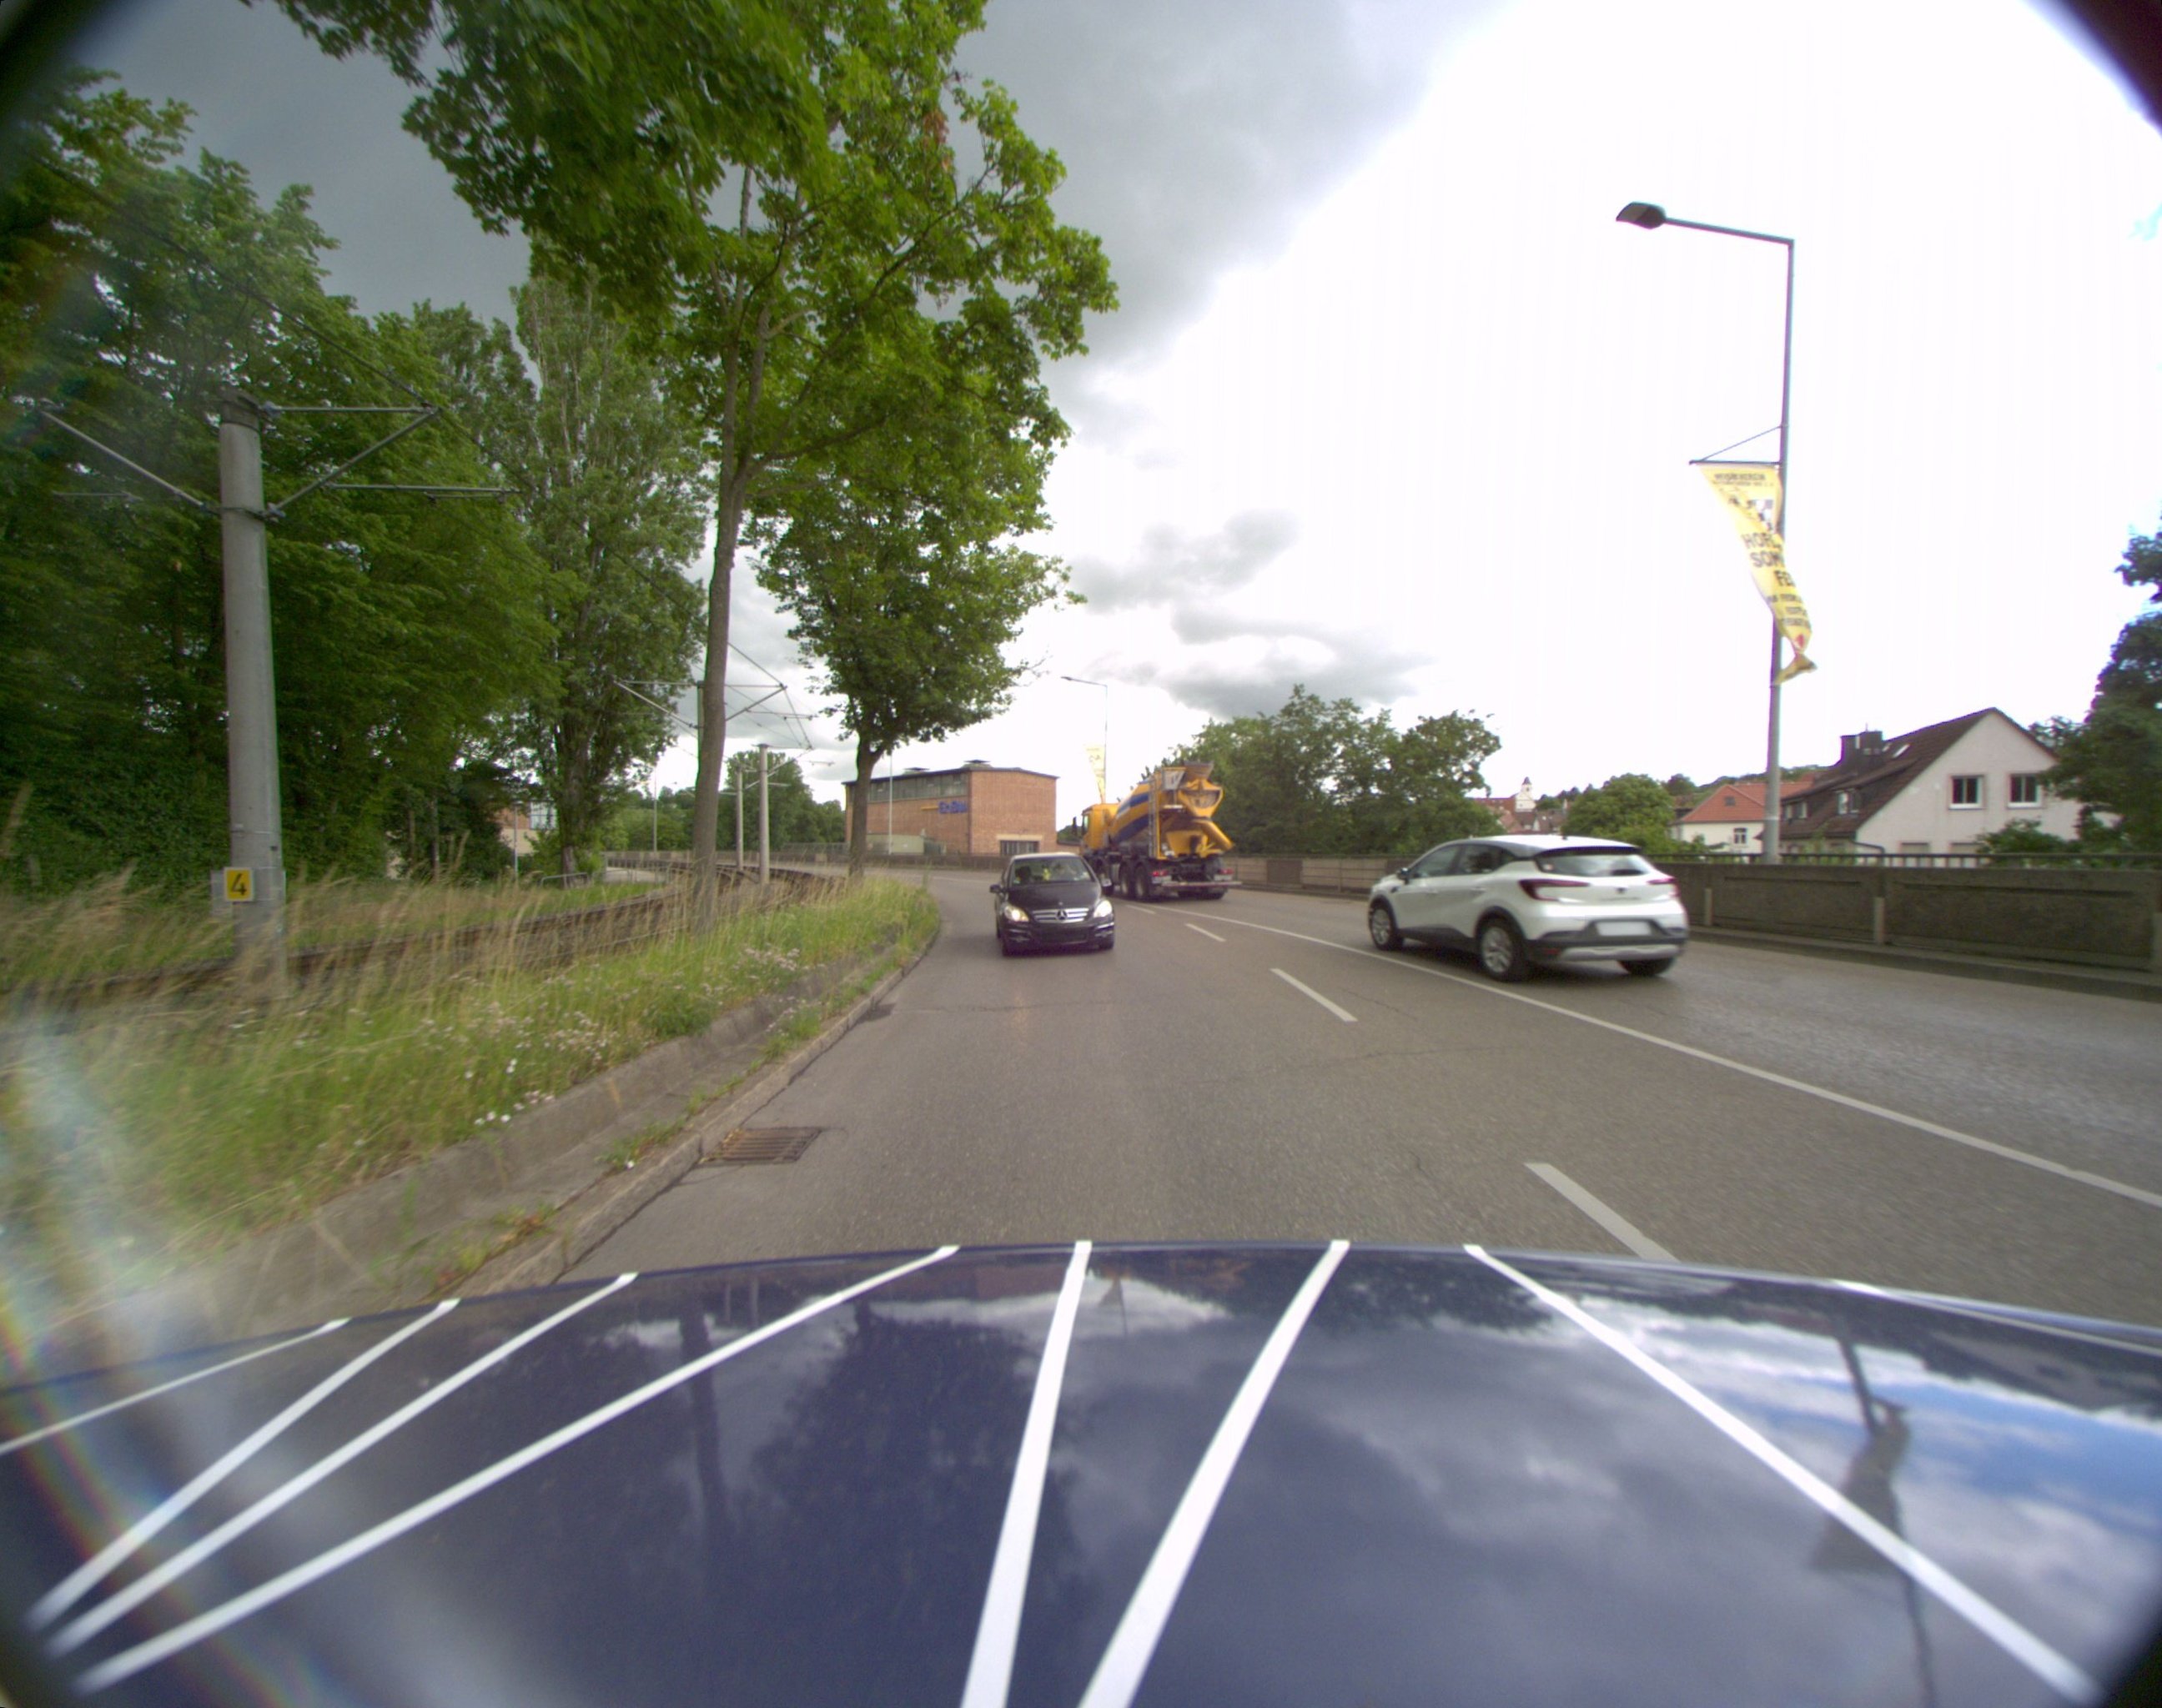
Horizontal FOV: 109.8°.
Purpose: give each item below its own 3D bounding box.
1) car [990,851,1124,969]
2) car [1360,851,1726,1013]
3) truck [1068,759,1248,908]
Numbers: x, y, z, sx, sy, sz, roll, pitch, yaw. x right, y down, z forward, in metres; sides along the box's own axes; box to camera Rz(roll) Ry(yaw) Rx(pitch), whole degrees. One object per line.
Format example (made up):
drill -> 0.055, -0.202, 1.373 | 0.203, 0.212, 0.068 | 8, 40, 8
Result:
car -> -0.575, 0.797, 13.032 | 1.862, 1.612, 3.996 | 0, 1, -8
car -> 5.103, 0.727, 9.147 | 1.772, 1.471, 3.998 | -1, 0, -4
truck -> 2.022, -0.574, 25.216 | 2.664, 3.916, 10.098 | -2, 1, -13
